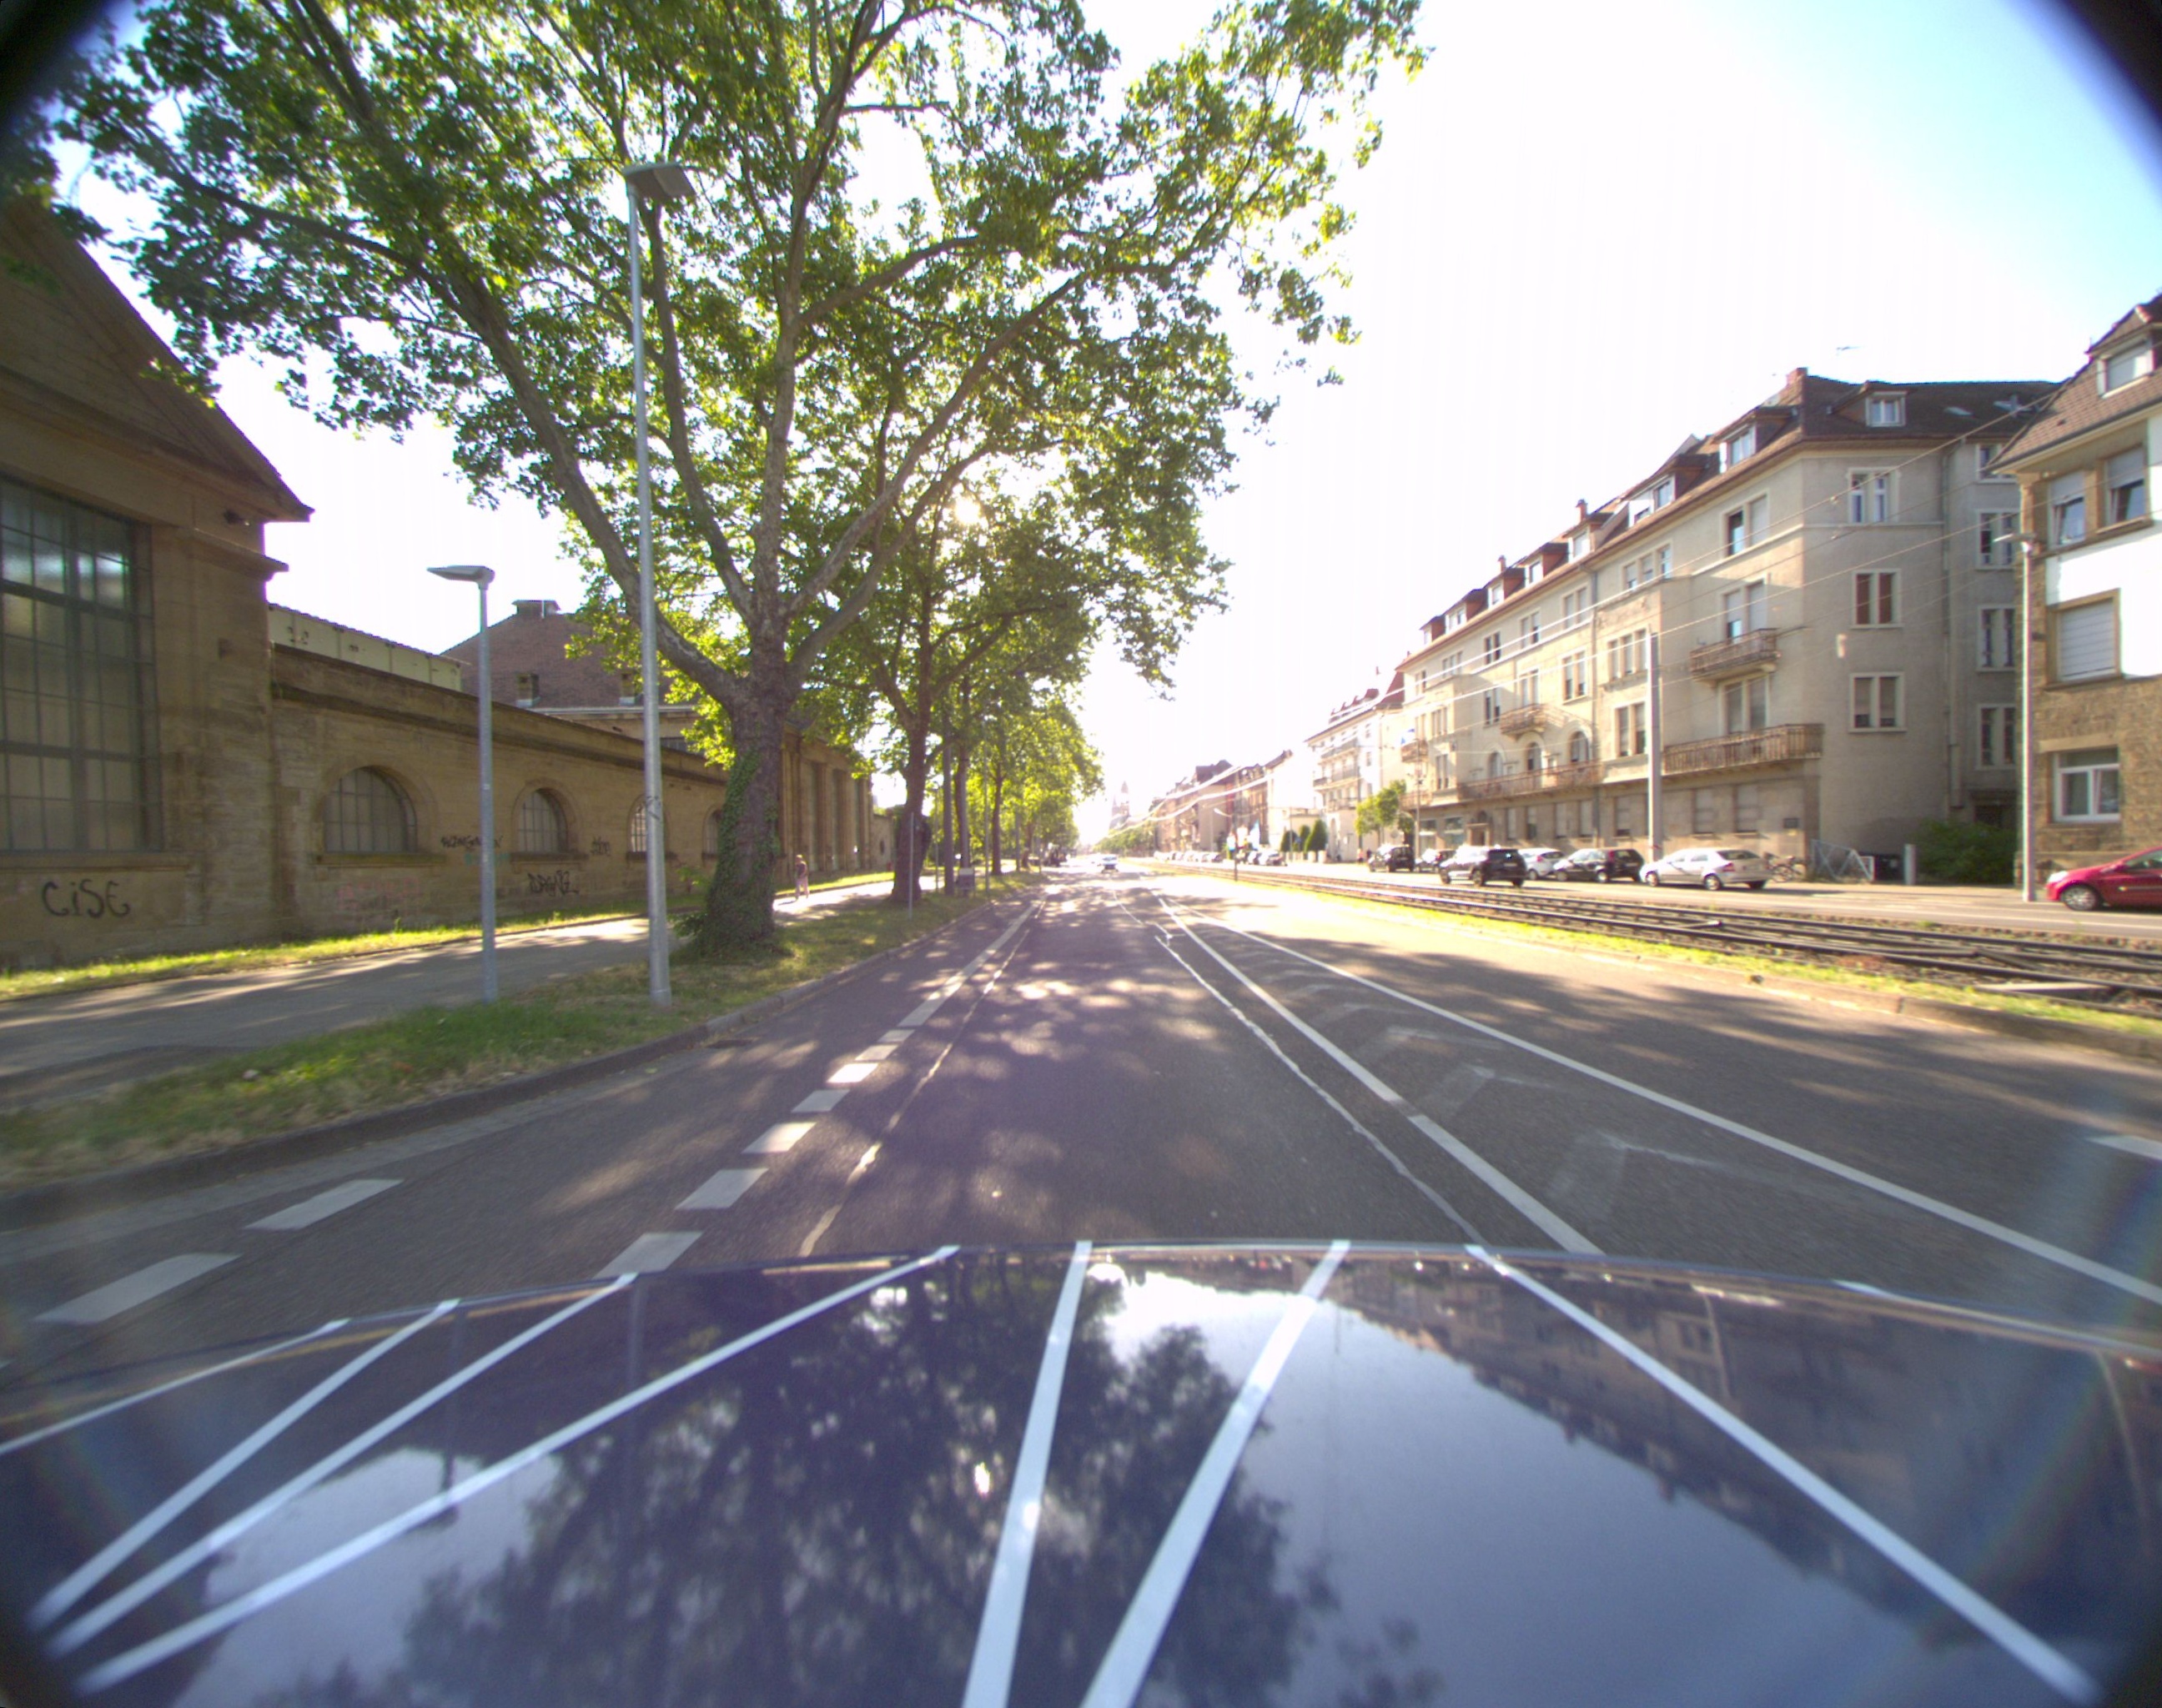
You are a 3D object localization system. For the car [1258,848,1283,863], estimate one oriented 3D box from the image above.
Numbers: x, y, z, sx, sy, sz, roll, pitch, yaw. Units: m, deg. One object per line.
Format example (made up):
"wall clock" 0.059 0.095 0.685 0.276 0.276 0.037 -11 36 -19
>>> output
"car" 21.162 0.136 84.860 1.799 1.502 3.999 -3 1 1

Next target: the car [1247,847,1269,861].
"car" 21.002 0.022 90.278 1.639 1.499 4.158 -3 1 1

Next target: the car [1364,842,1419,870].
"car" 21.572 0.160 52.970 1.867 1.776 4.401 -3 0 -2

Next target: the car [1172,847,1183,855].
"car" 20.550 -0.642 161.795 1.664 1.797 4.727 -3 1 -2

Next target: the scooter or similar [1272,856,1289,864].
"scooter or similar" 20.487 0.607 78.011 1.565 0.766 0.809 0 1 30

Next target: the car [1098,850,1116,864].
"car" 3.067 0.363 90.094 1.799 1.501 3.999 -3 0 -1

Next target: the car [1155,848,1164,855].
"car" 19.857 -0.663 192.643 1.798 1.633 4.630 -3 1 2

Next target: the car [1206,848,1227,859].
"car" 20.664 -0.060 116.030 1.926 1.452 4.840 -6 0 -2

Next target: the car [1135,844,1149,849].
"car" 19.125 -2.339 237.616 3.991 1.502 1.802 -3 2 20

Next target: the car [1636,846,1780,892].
"car" 22.162 0.491 27.092 1.639 1.460 4.159 -2 0 0

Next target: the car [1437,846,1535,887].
"car" 16.455 0.463 31.125 1.640 1.592 4.157 0 0 -3

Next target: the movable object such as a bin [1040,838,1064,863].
"movable object such as a bin" -3.749 -0.446 99.673 2.751 3.127 7.218 2 0 0

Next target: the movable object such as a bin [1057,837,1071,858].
"movable object such as a bin" -3.976 -1.533 179.057 2.922 4.584 7.596 2 0 -3

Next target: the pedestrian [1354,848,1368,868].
"pedestrian" 23.875 0.320 64.822 0.592 1.687 0.855 -5 2 -39

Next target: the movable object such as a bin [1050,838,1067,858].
"movable object such as a bin" -4.723 -1.199 159.130 3.347 3.953 7.596 2 0 -3

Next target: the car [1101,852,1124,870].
"car" 2.826 0.626 69.541 1.799 1.501 3.999 -3 0 -1

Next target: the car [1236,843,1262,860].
"car" 21.332 -0.297 96.522 2.082 1.998 5.591 -3 1 1

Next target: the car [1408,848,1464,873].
"car" 21.932 0.371 47.100 1.632 1.383 3.508 -5 0 -2

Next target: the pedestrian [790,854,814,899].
"pedestrian" -10.664 0.841 29.071 0.609 1.672 0.636 3 1 -3

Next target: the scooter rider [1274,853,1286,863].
"scooter rider" 20.448 0.409 78.026 0.976 1.083 0.809 0 1 30

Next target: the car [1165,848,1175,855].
"car" 19.495 -0.558 166.965 1.664 1.437 3.980 -3 1 -1

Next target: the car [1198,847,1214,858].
"car" 20.554 -0.297 125.352 1.925 1.685 4.842 -3 0 2

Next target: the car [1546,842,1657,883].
"car" 22.095 0.323 32.496 1.639 1.460 4.157 -7 1 -3

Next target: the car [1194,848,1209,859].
"car" 20.804 -0.058 131.154 1.925 1.552 4.841 -5 1 2

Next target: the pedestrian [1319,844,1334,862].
"pedestrian" 25.279 -0.146 78.180 0.995 1.768 0.934 -4 2 -15

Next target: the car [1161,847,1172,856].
"car" 19.812 -0.604 176.461 1.799 1.797 3.999 -3 1 -2

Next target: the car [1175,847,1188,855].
"car" 20.623 -0.647 156.530 1.925 1.529 4.626 -2 1 -1

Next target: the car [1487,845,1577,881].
"car" 21.671 0.410 36.675 1.640 1.460 3.981 -7 1 -4

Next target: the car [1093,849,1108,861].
"car" 2.816 0.153 110.513 1.799 1.501 3.999 -3 0 -1

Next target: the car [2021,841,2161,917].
"car" 22.367 0.486 15.252 1.839 1.383 4.033 -5 1 -5

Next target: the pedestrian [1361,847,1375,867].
"pedestrian" 24.582 0.275 65.062 0.592 1.687 0.855 -5 2 -39
